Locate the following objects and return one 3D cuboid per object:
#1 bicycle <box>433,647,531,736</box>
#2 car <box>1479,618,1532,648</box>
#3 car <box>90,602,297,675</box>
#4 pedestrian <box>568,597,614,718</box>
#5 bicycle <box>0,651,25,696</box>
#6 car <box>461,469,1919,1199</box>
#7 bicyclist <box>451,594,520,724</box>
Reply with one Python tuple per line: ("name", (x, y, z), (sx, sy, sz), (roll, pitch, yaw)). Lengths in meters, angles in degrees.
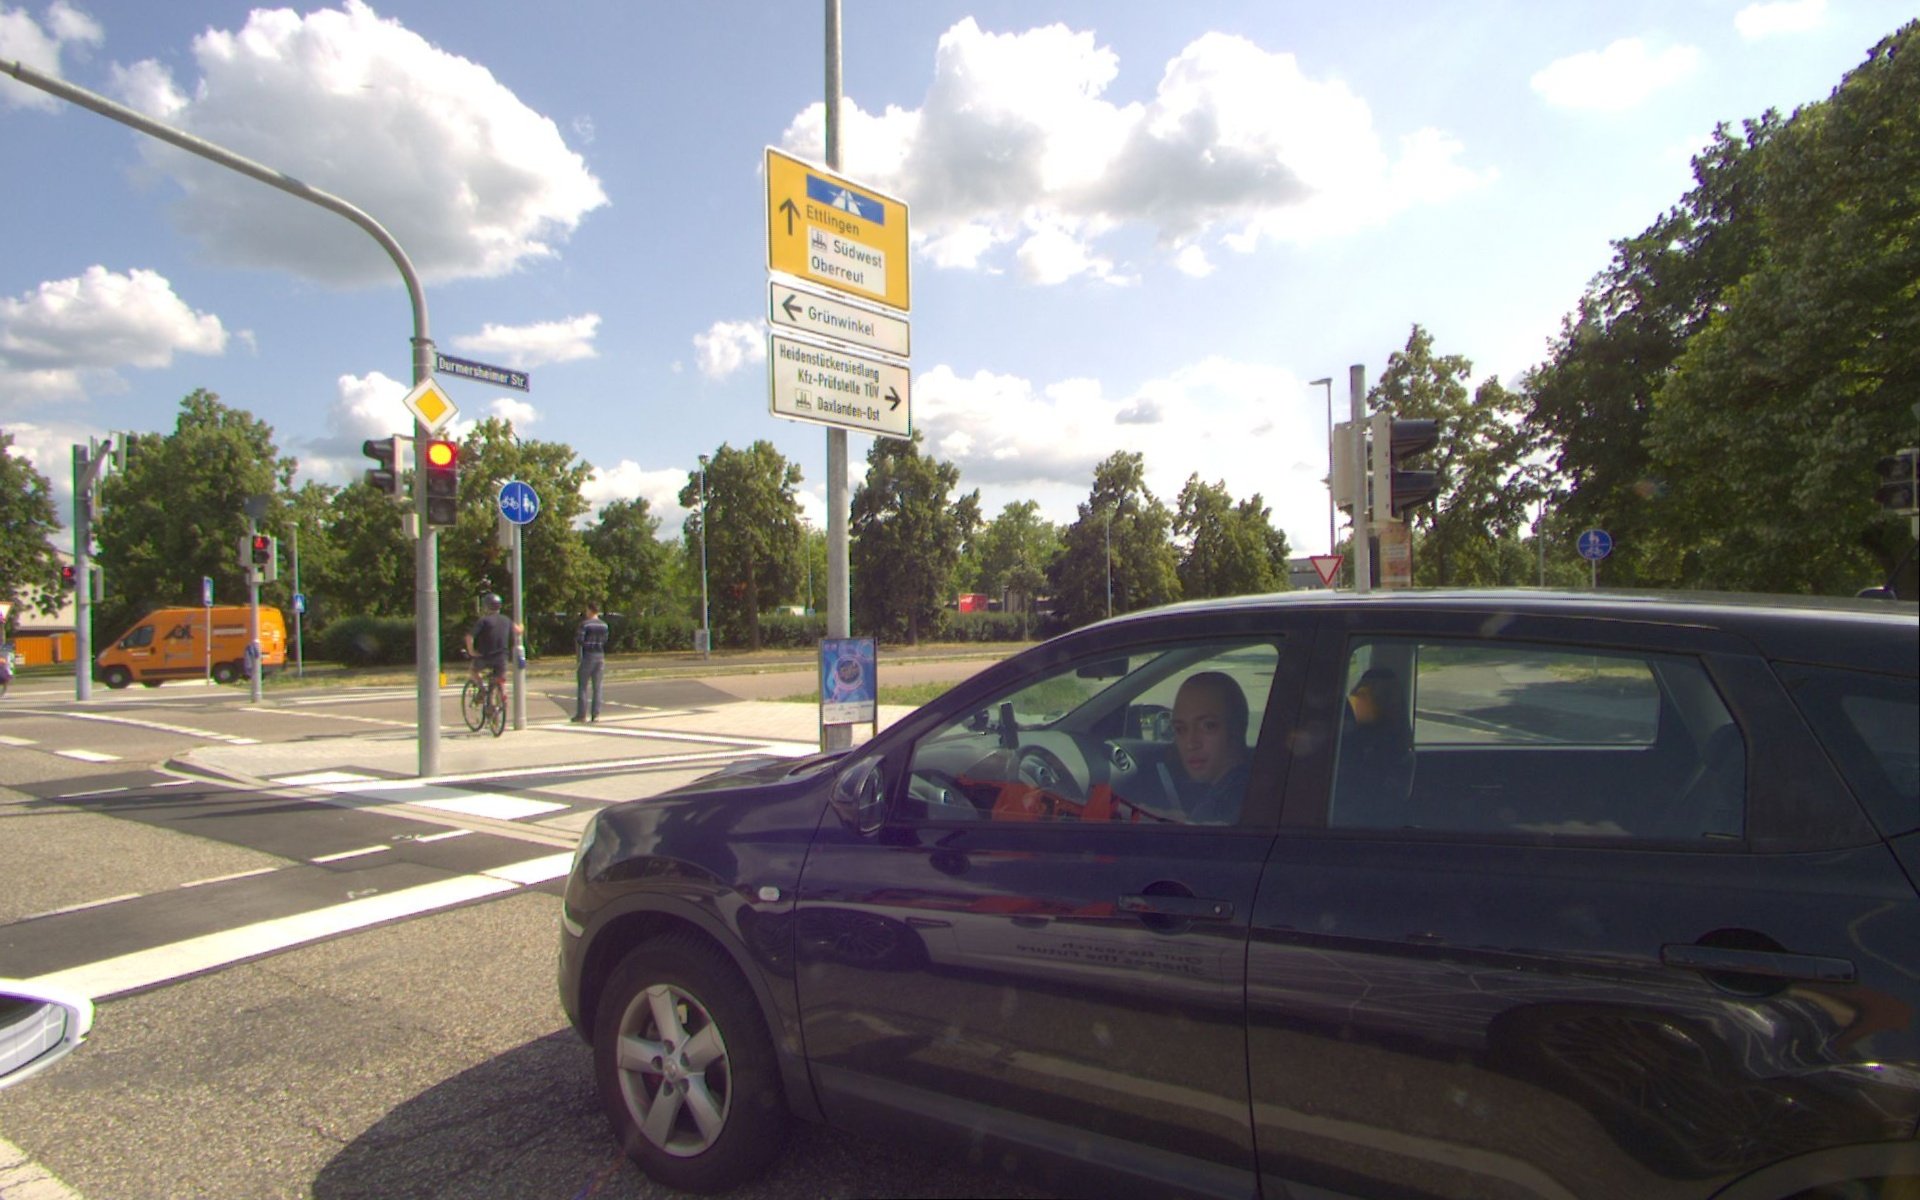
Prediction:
("bicycle", (-6.505, 1.215, 13.579), (0.644, 1.121, 1.910), (3, -4, -43))
("car", (23.167, 1.438, 42.616), (1.886, 1.192, 3.767), (-2, -4, 27))
("car", (-24.795, 1.285, 32.611), (4.770, 2.253, 2.211), (1, -3, -12))
("pedestrian", (-5.590, 0.869, 15.178), (0.477, 1.800, 0.462), (-2, -3, 42))
("bicycle", (-24.578, 1.843, 24.830), (0.673, 1.107, 2.002), (-1, -2, 15))
("car", (0.662, 0.694, 2.769), (3.941, 1.571, 1.798), (-2, -4, 31))
("bicyclist", (-6.371, 0.791, 13.456), (0.644, 1.682, 0.644), (2, -4, -44))
